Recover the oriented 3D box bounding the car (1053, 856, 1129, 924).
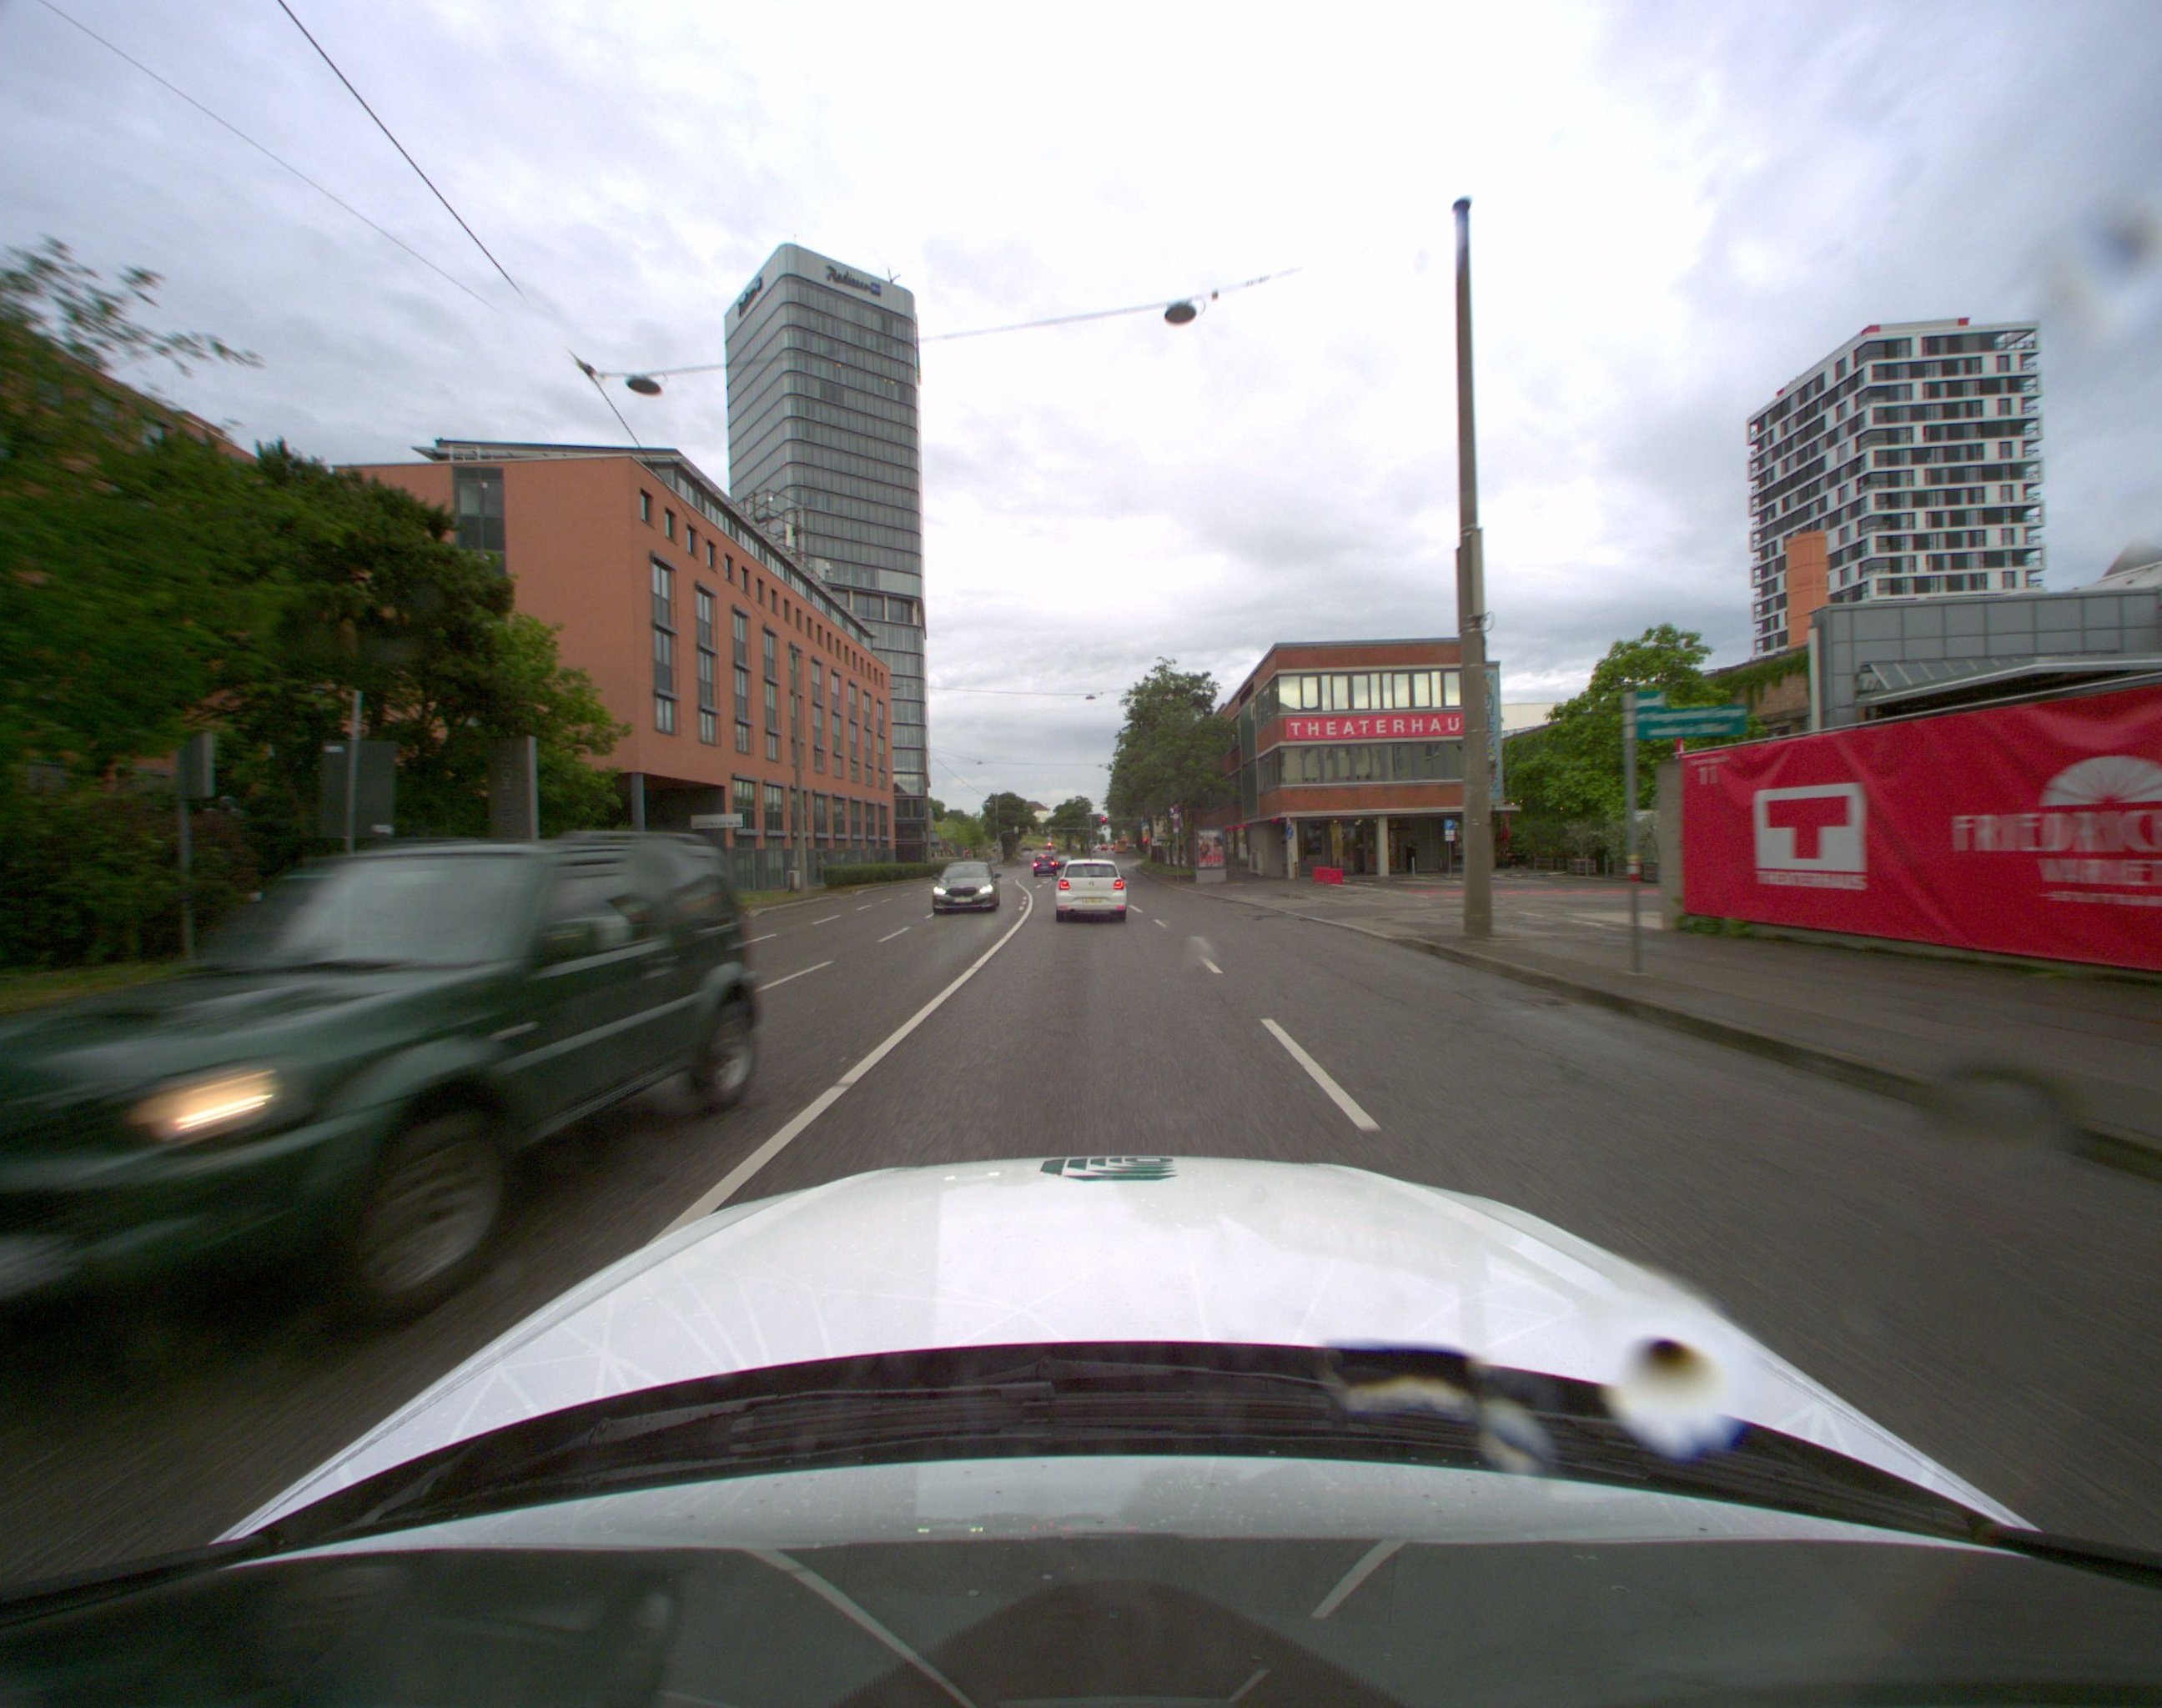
[{"bbox_3d":[0.168,0.813,20.224,1.666,1.474,3.776,-2,0,-2],"label":"car"}]

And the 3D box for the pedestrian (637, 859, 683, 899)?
[{"bbox_3d":[-18.766,1.127,36.319,1.202,1.679,1.420,-4,-2,2],"label":"pedestrian"}]

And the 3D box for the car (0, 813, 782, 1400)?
[{"bbox_3d":[-2.953,0.706,4.054,1.497,1.666,3.421,-2,1,2],"label":"car"}]

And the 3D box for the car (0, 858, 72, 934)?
[{"bbox_3d":[-25.696,1.012,18.464,3.394,1.666,1.820,-2,1,3],"label":"car"}]

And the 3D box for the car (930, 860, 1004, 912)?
[{"bbox_3d":[-3.348,0.906,24.520,1.707,1.365,3.997,-3,0,-2],"label":"car"}]

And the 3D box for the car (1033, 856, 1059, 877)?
[{"bbox_3d":[-2.798,0.954,64.717,1.989,1.574,3.996,-2,0,-3],"label":"car"}]

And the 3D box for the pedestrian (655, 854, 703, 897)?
[{"bbox_3d":[-17.946,0.964,36.389,1.310,1.823,1.439,-4,-2,2],"label":"pedestrian"}]
